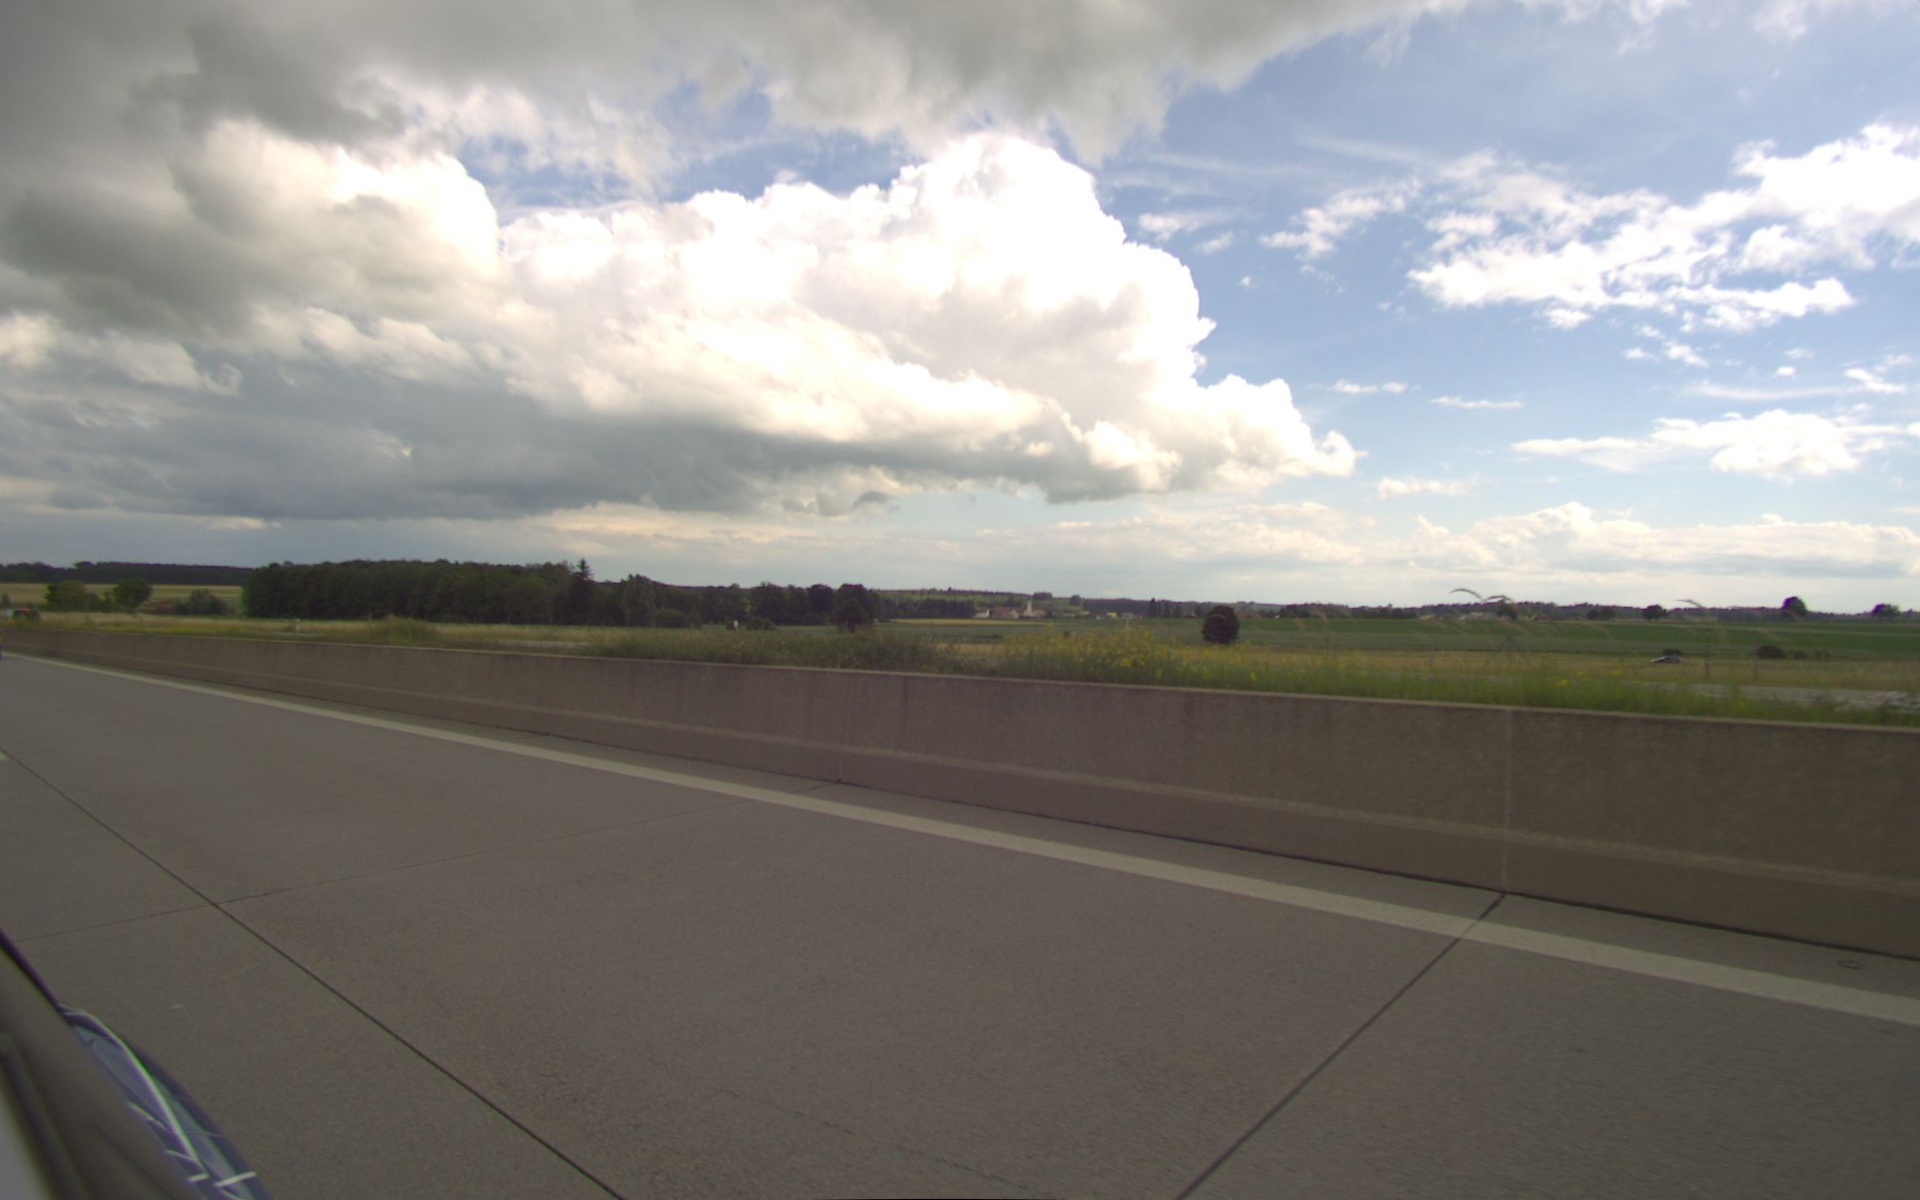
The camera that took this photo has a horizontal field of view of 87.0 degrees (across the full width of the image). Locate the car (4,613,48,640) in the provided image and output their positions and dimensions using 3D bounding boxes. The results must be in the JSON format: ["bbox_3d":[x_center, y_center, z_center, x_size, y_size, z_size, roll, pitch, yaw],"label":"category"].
[{"bbox_3d":[-71.843,2.051,77.841,4.627,2.029,1.973,-2,-1,41],"label":"car"}]
